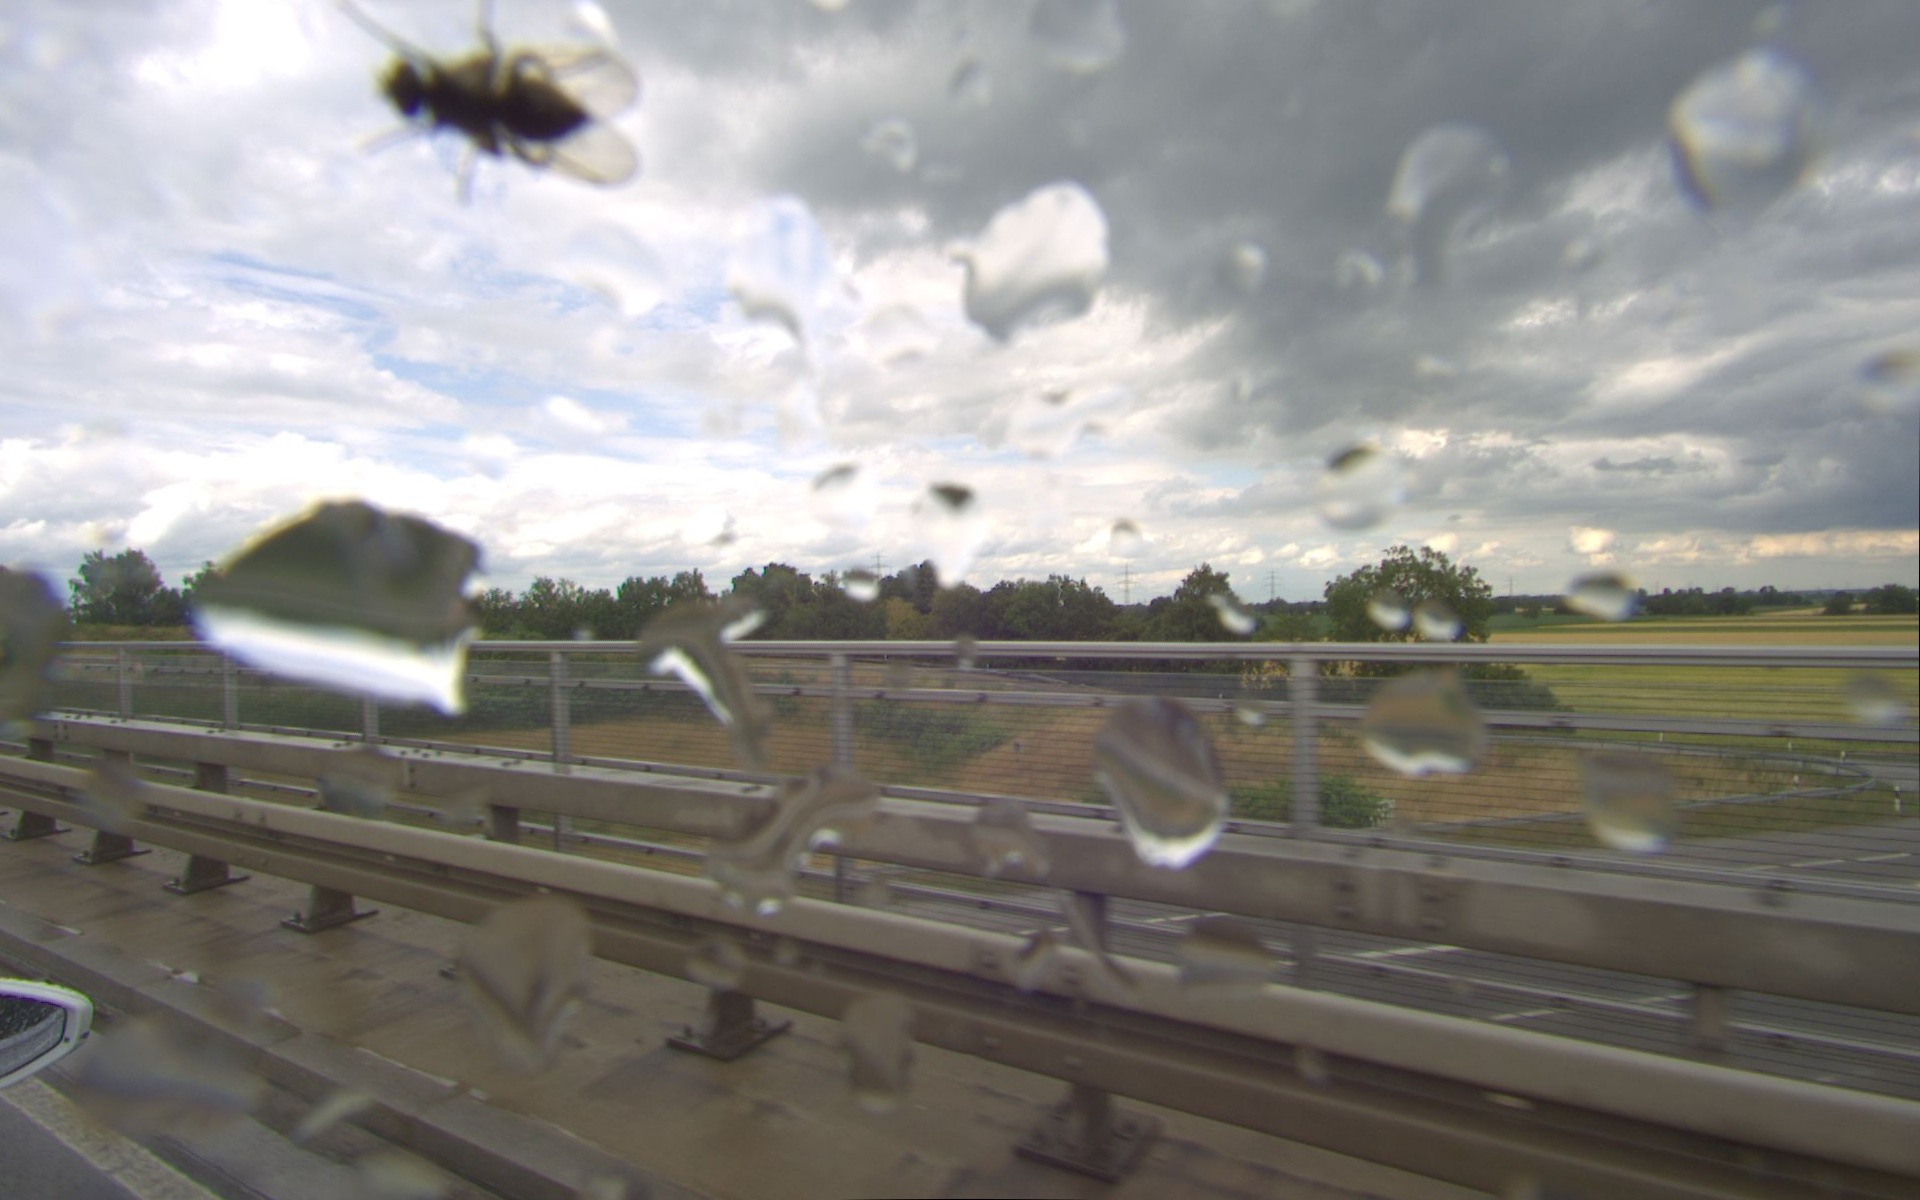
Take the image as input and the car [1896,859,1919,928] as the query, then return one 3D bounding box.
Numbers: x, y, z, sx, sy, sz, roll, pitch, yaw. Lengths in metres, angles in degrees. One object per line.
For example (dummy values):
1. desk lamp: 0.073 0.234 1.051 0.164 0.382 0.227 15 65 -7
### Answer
1. car: 27.955 7.903 26.699 4.634 1.690 1.815 0 -2 -7
